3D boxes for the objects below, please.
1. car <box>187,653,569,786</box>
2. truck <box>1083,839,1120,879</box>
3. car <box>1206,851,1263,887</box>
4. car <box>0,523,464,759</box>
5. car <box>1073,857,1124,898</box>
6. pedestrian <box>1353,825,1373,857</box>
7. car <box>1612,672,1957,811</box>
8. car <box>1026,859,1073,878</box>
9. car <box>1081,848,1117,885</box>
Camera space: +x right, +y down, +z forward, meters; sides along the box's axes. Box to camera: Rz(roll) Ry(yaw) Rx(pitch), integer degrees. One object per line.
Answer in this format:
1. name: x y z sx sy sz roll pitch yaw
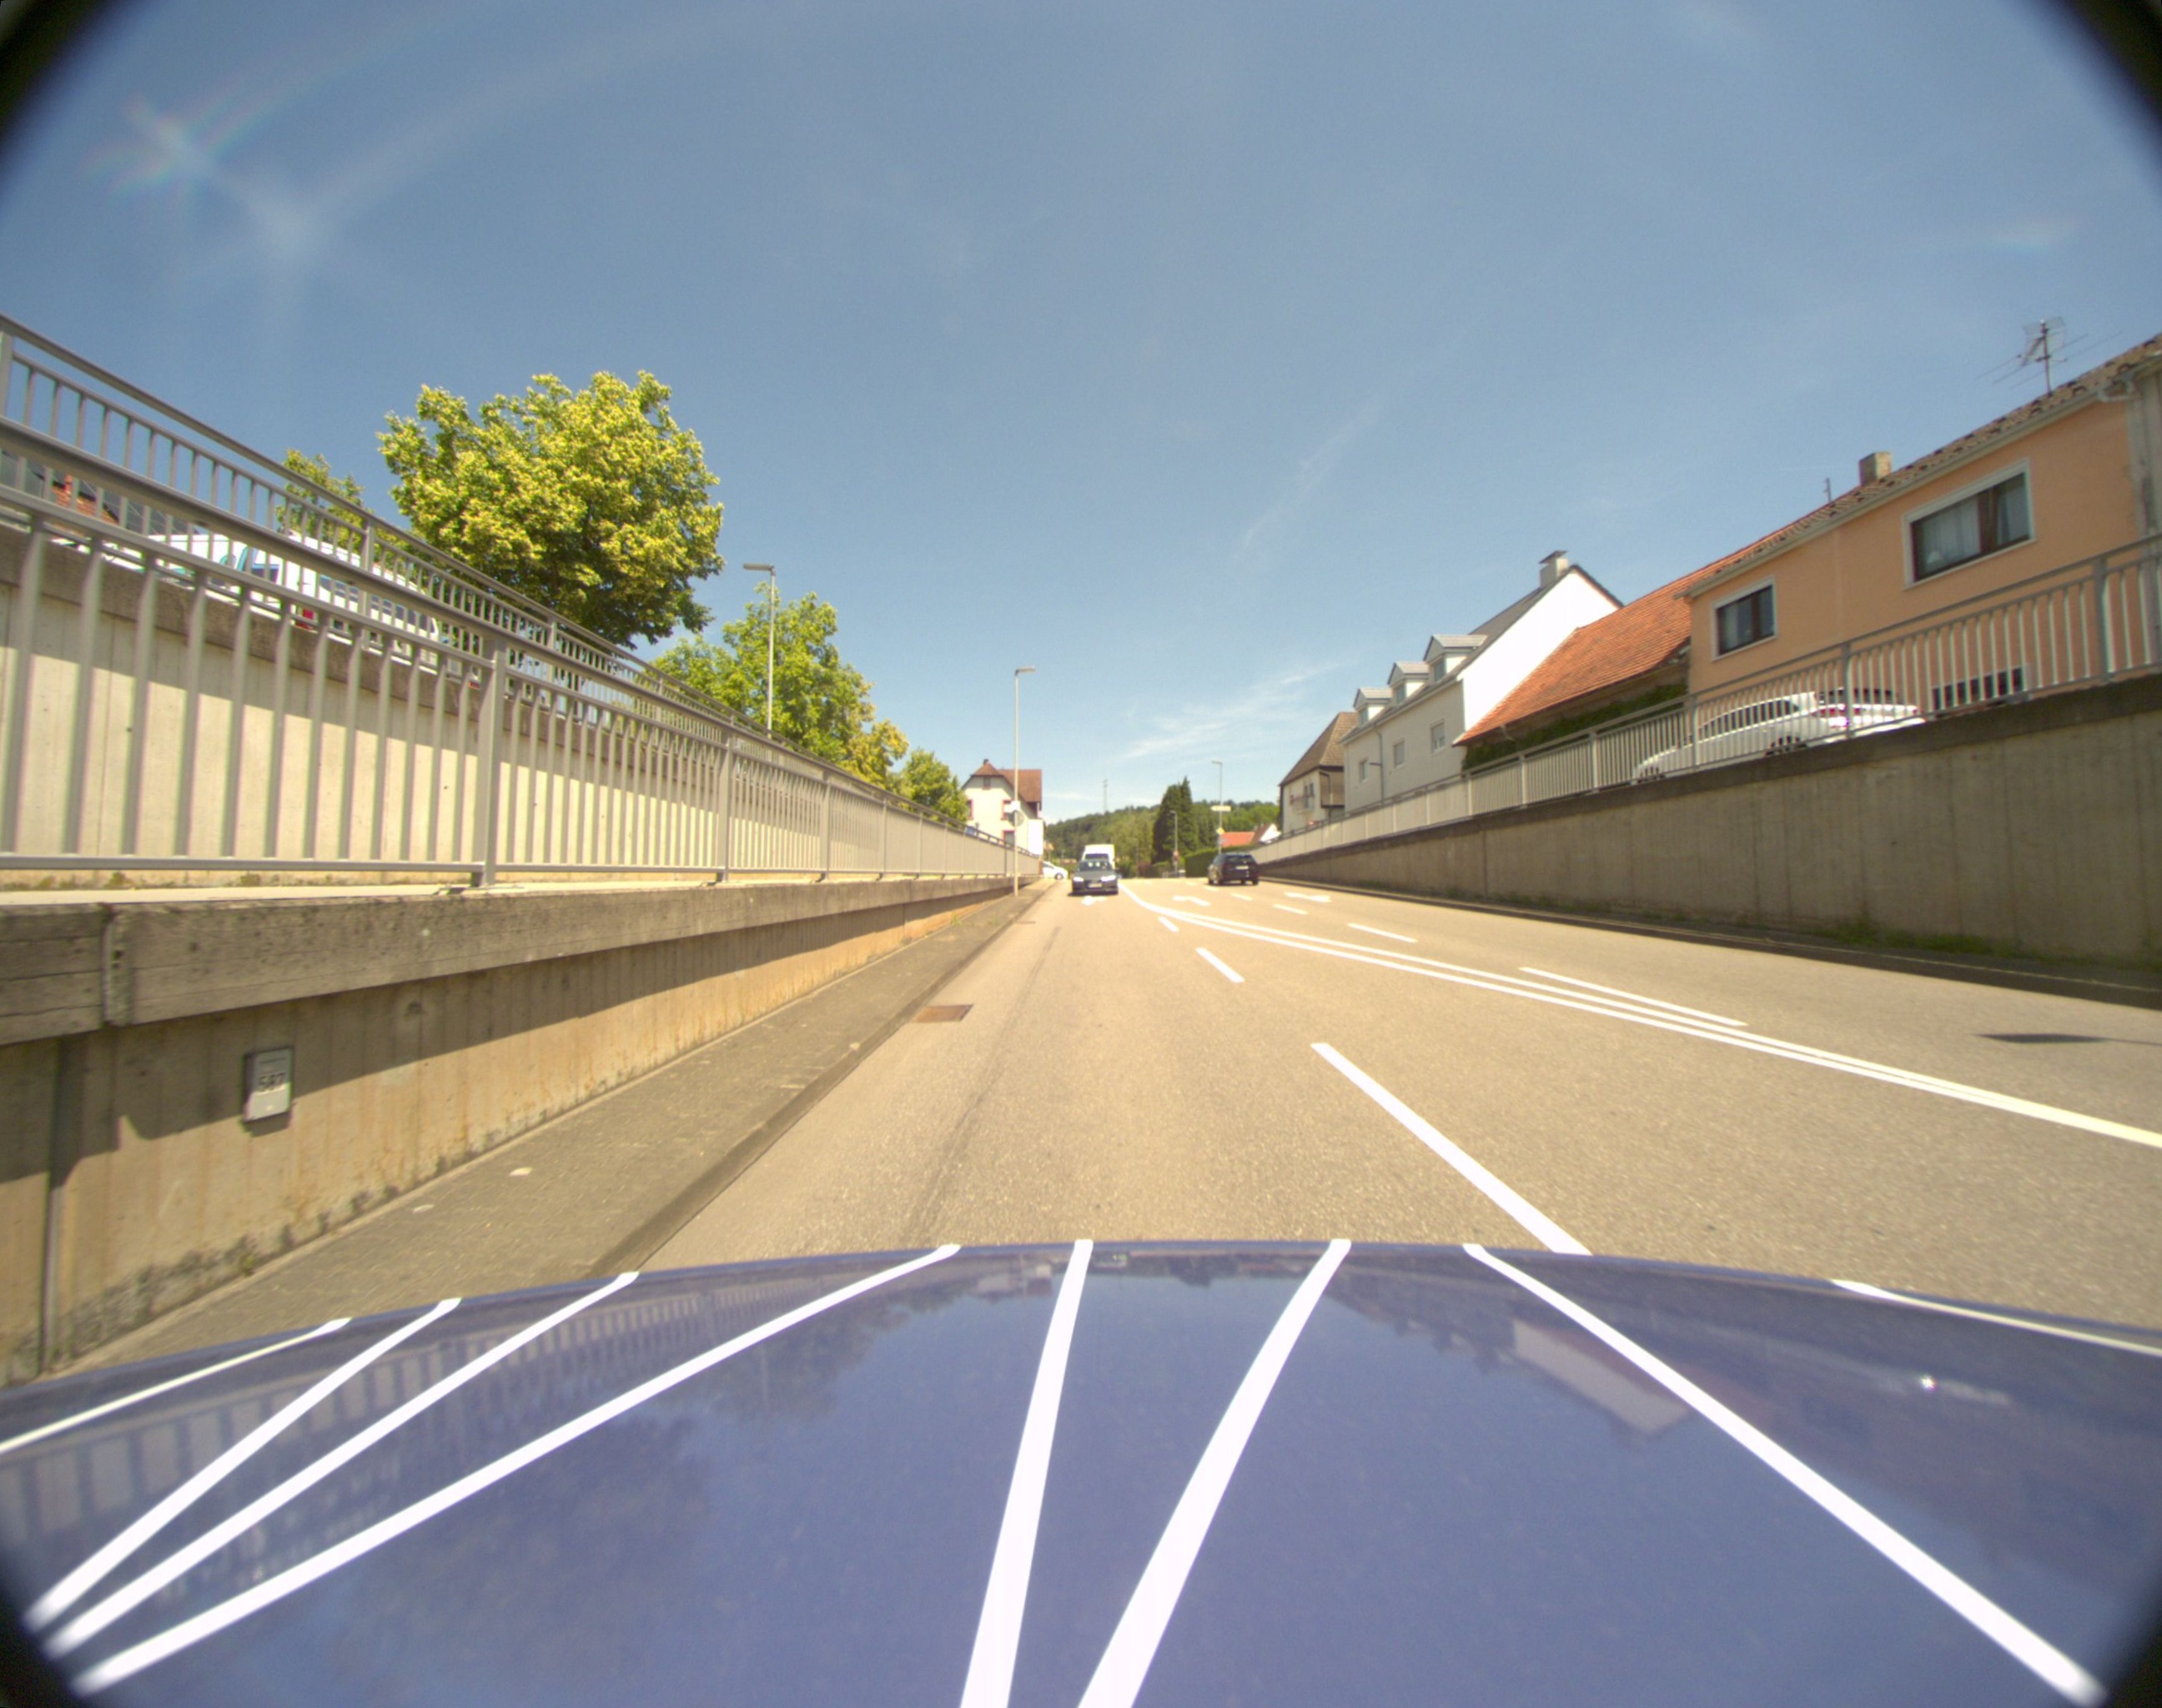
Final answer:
1. car: -10.429 -1.960 11.490 4.214 1.586 1.687 -1 -3 2
2. truck: 1.844 0.524 70.636 3.149 3.466 8.273 -1 -1 1
3. car: 6.939 0.646 34.655 1.765 1.480 4.368 -2 0 1
4. car: -10.602 -2.339 8.905 5.124 2.050 1.990 -1 -3 2
5. car: 0.642 0.892 30.412 1.864 1.441 3.999 -1 0 0
6. pedestrian: 15.497 -0.716 41.740 0.729 1.719 0.856 -2 0 -3
7. car: 11.675 -1.760 13.140 1.818 1.453 4.311 -2 -4 -2
8. car: -2.566 1.165 61.099 3.680 1.469 1.775 1 -1 -5
9. car: 1.047 0.697 45.693 1.998 2.002 4.548 -2 0 0
